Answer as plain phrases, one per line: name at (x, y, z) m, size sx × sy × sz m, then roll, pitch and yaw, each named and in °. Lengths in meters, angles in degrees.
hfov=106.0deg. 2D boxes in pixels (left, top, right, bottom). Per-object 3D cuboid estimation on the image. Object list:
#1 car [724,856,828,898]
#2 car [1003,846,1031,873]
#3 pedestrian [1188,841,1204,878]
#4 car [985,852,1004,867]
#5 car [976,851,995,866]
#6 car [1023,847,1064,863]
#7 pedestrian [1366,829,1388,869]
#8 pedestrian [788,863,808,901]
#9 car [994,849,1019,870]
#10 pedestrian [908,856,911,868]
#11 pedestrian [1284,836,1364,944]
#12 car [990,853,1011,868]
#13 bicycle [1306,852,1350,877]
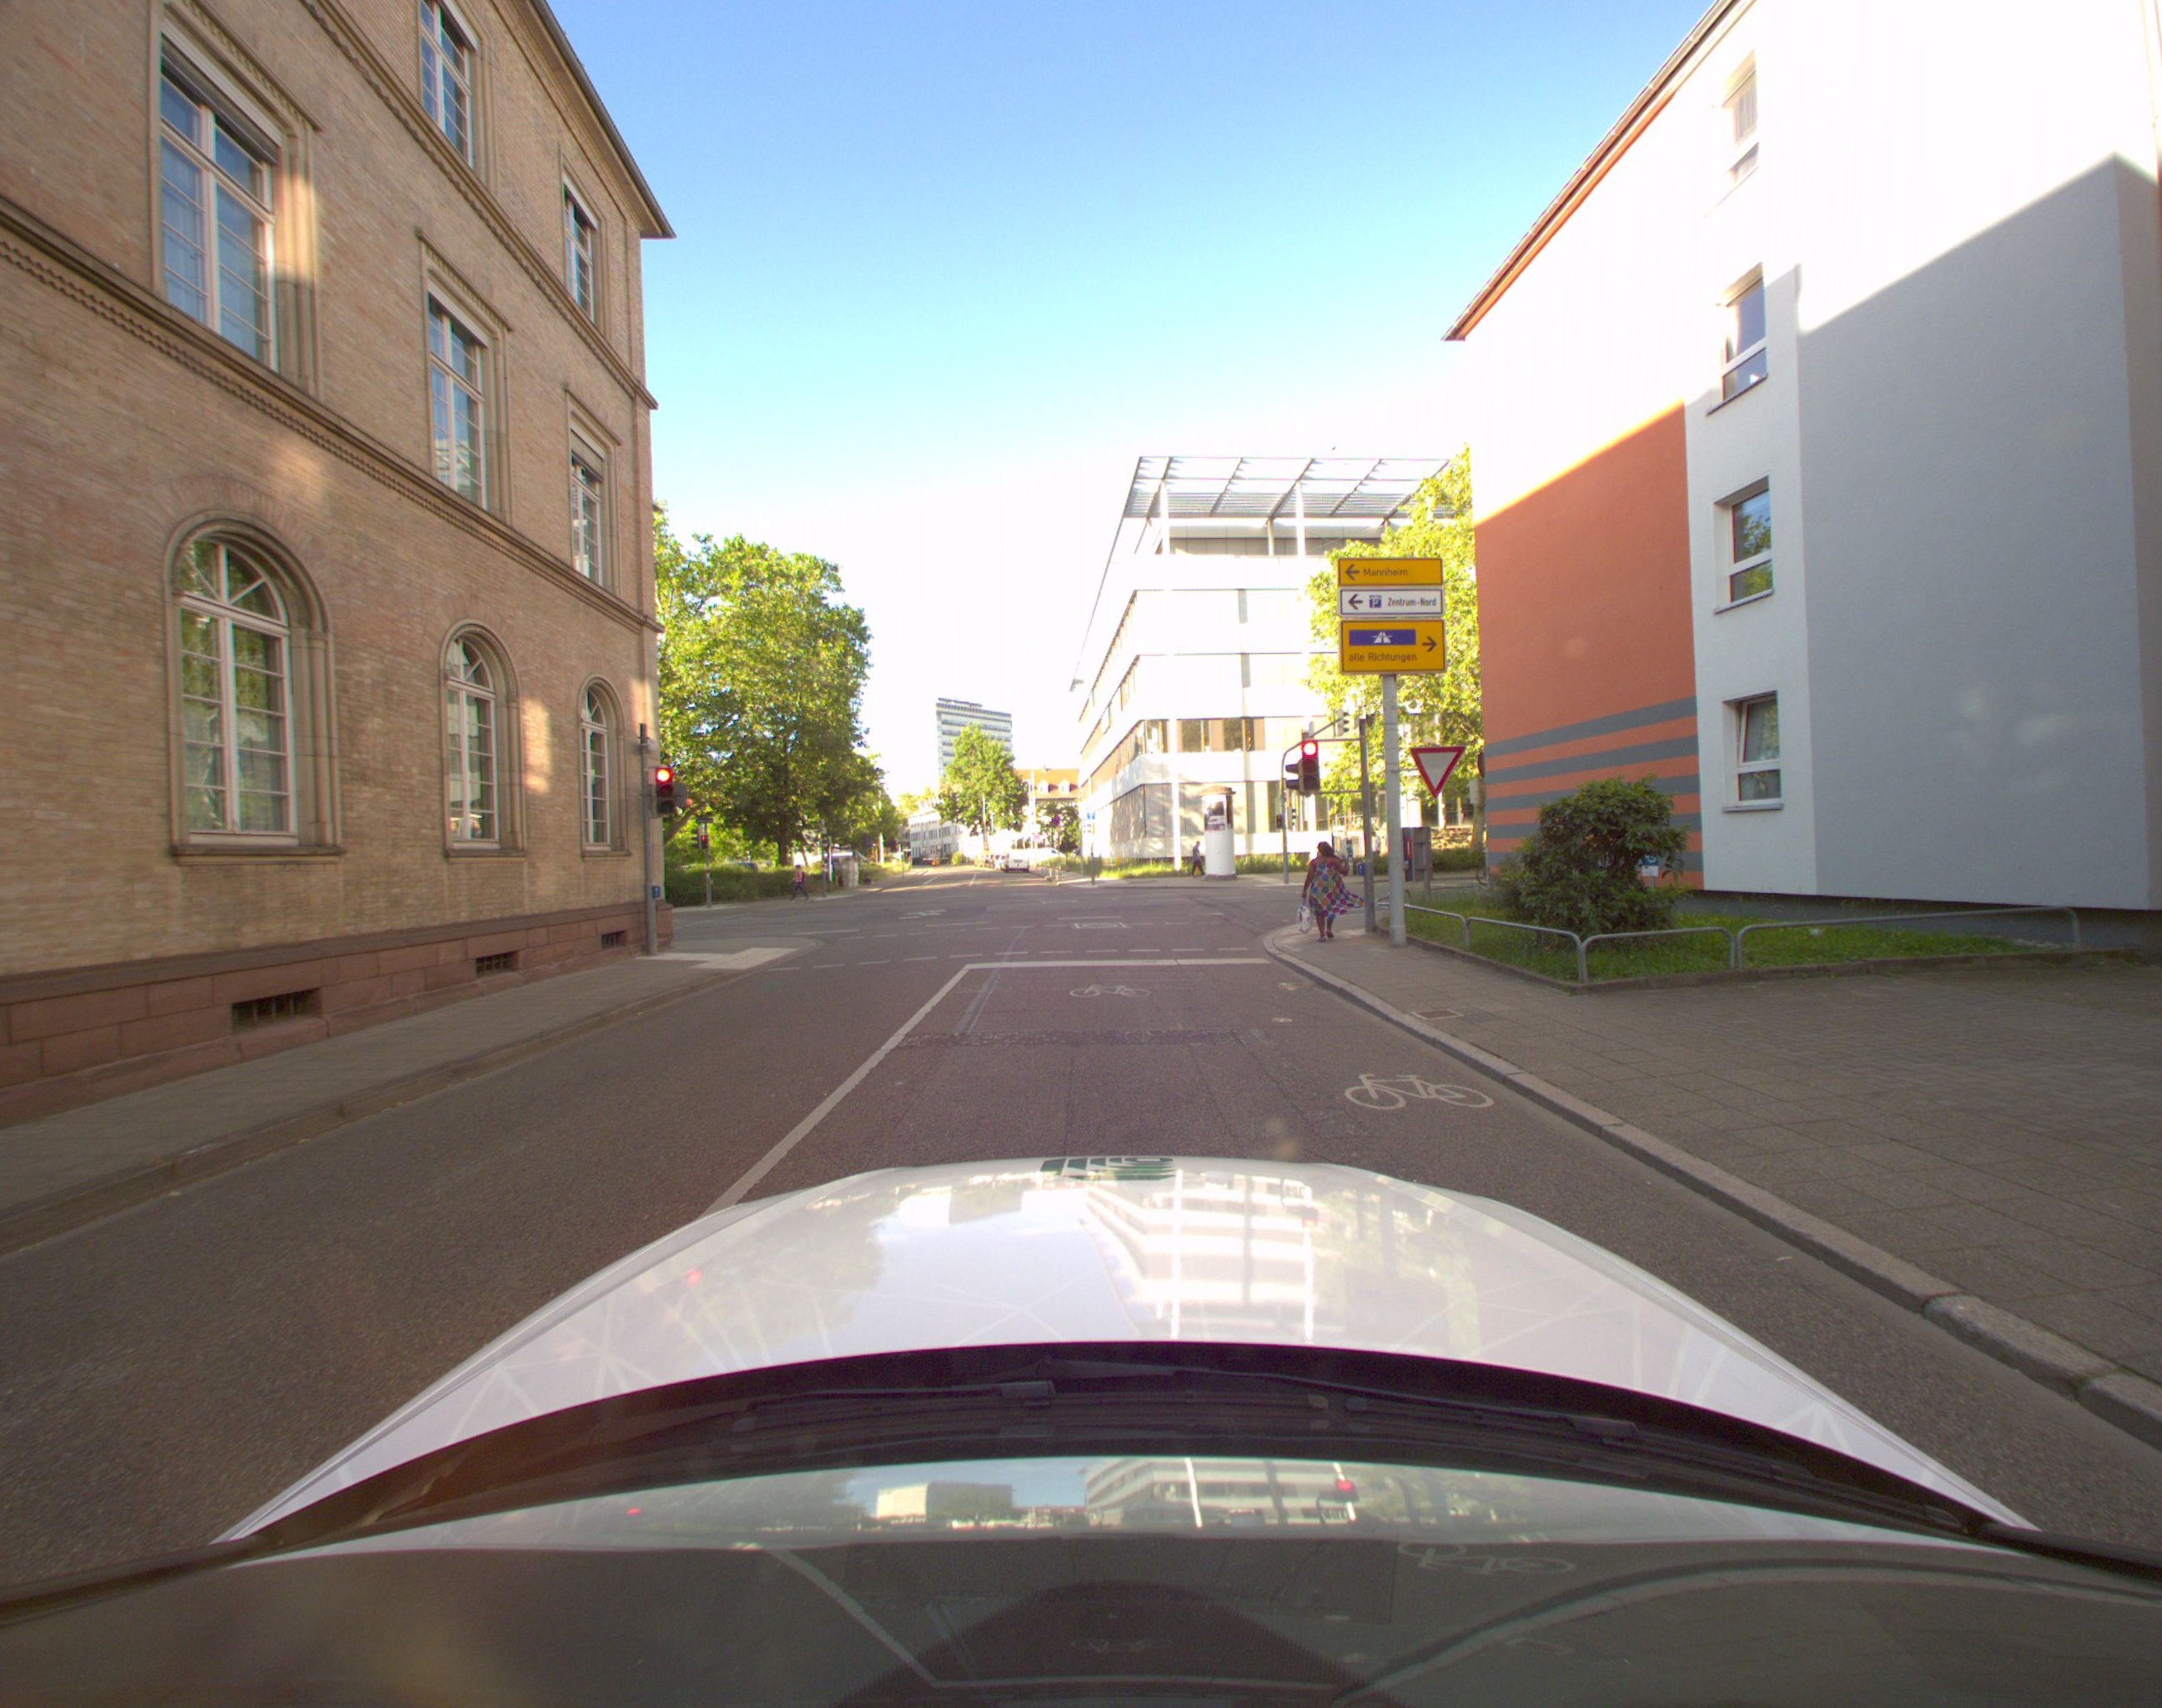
car at (-14.401, 1.073, 38.652) m, size 4.219 × 1.777 × 1.901 m, roll -2°, pitch 0°, yaw -7°
car at (-5.127, 0.428, 64.948) m, size 2.065 × 1.963 × 4.228 m, roll -2°, pitch 0°, yaw -6°
pedestrian at (5.499, 0.241, 38.906) m, size 0.649 × 1.736 × 0.814 m, roll -2°, pitch 0°, yaw 6°
car at (-9.195, 0.567, 86.257) m, size 1.704 × 1.464 × 4.225 m, roll -2°, pitch 0°, yaw -9°
car at (-11.303, 0.534, 96.138) m, size 2.100 × 1.658 × 4.461 m, roll -2°, pitch 0°, yaw -9°
car at (-4.704, 0.134, 103.130) m, size 4.889 × 1.872 × 1.990 m, roll -1°, pitch -1°, yaw -15°
pedestrian at (14.007, -0.241, 38.540) m, size 0.536 × 1.831 × 1.039 m, roll -2°, pitch 0°, yaw -4°
pedestrian at (-12.077, 1.179, 34.699) m, size 0.715 × 1.599 × 0.612 m, roll -2°, pitch 0°, yaw -24°
car at (-7.077, 0.515, 76.826) m, size 1.947 × 1.795 × 4.223 m, roll -2°, pitch 0°, yaw -11°
pedestrian at (-21.062, 0.971, 99.991) m, size 0.380 × 1.534 × 0.444 m, roll -2°, pitch 0°, yaw -10°
pedestrian at (3.832, 0.553, 12.923) m, size 0.949 × 1.573 × 0.752 m, roll -7°, pitch 0°, yaw 8°
car at (-8.095, 0.652, 81.707) m, size 1.705 × 1.424 × 4.221 m, roll -2°, pitch 0°, yaw -11°
bicycle at (10.902, 0.466, 36.008) m, size 0.467 × 1.049 × 1.893 m, roll -2°, pitch 0°, yaw -40°
